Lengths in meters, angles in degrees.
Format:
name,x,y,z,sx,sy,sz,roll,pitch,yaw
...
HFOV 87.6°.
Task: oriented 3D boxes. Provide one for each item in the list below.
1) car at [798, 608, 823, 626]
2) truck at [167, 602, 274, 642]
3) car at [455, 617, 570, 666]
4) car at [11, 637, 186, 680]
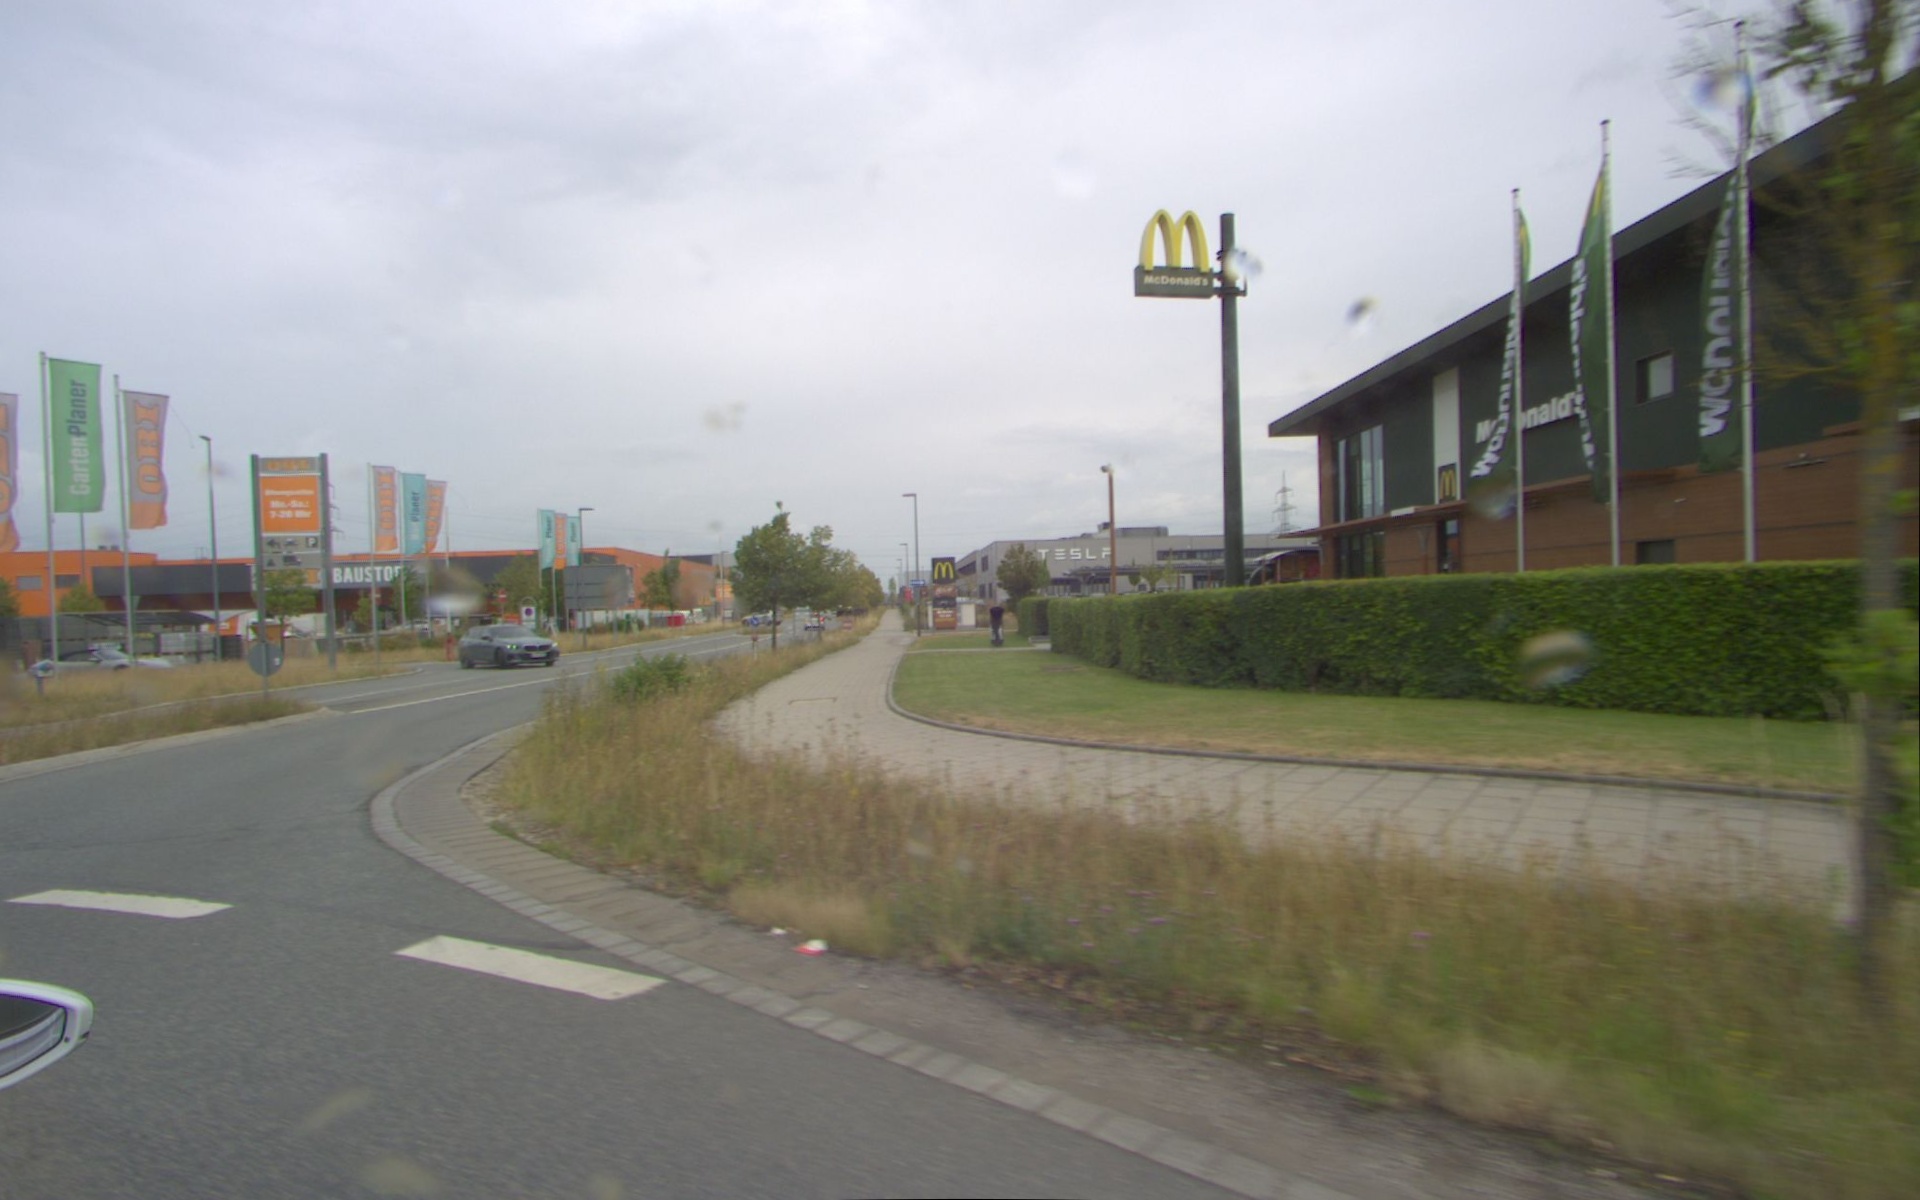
name,x,y,z,sx,sy,sz,roll,pitch,yaw
car,-12.688,1.447,85.150,1.778,1.483,3.999,1,-1,-5
truck,-51.698,1.540,70.143,5.445,2.515,2.440,-3,-1,-9
car,-15.827,1.480,35.319,4.634,1.526,1.983,-4,-2,42
car,-31.430,2.110,36.660,4.667,1.421,1.743,-1,-1,-7
